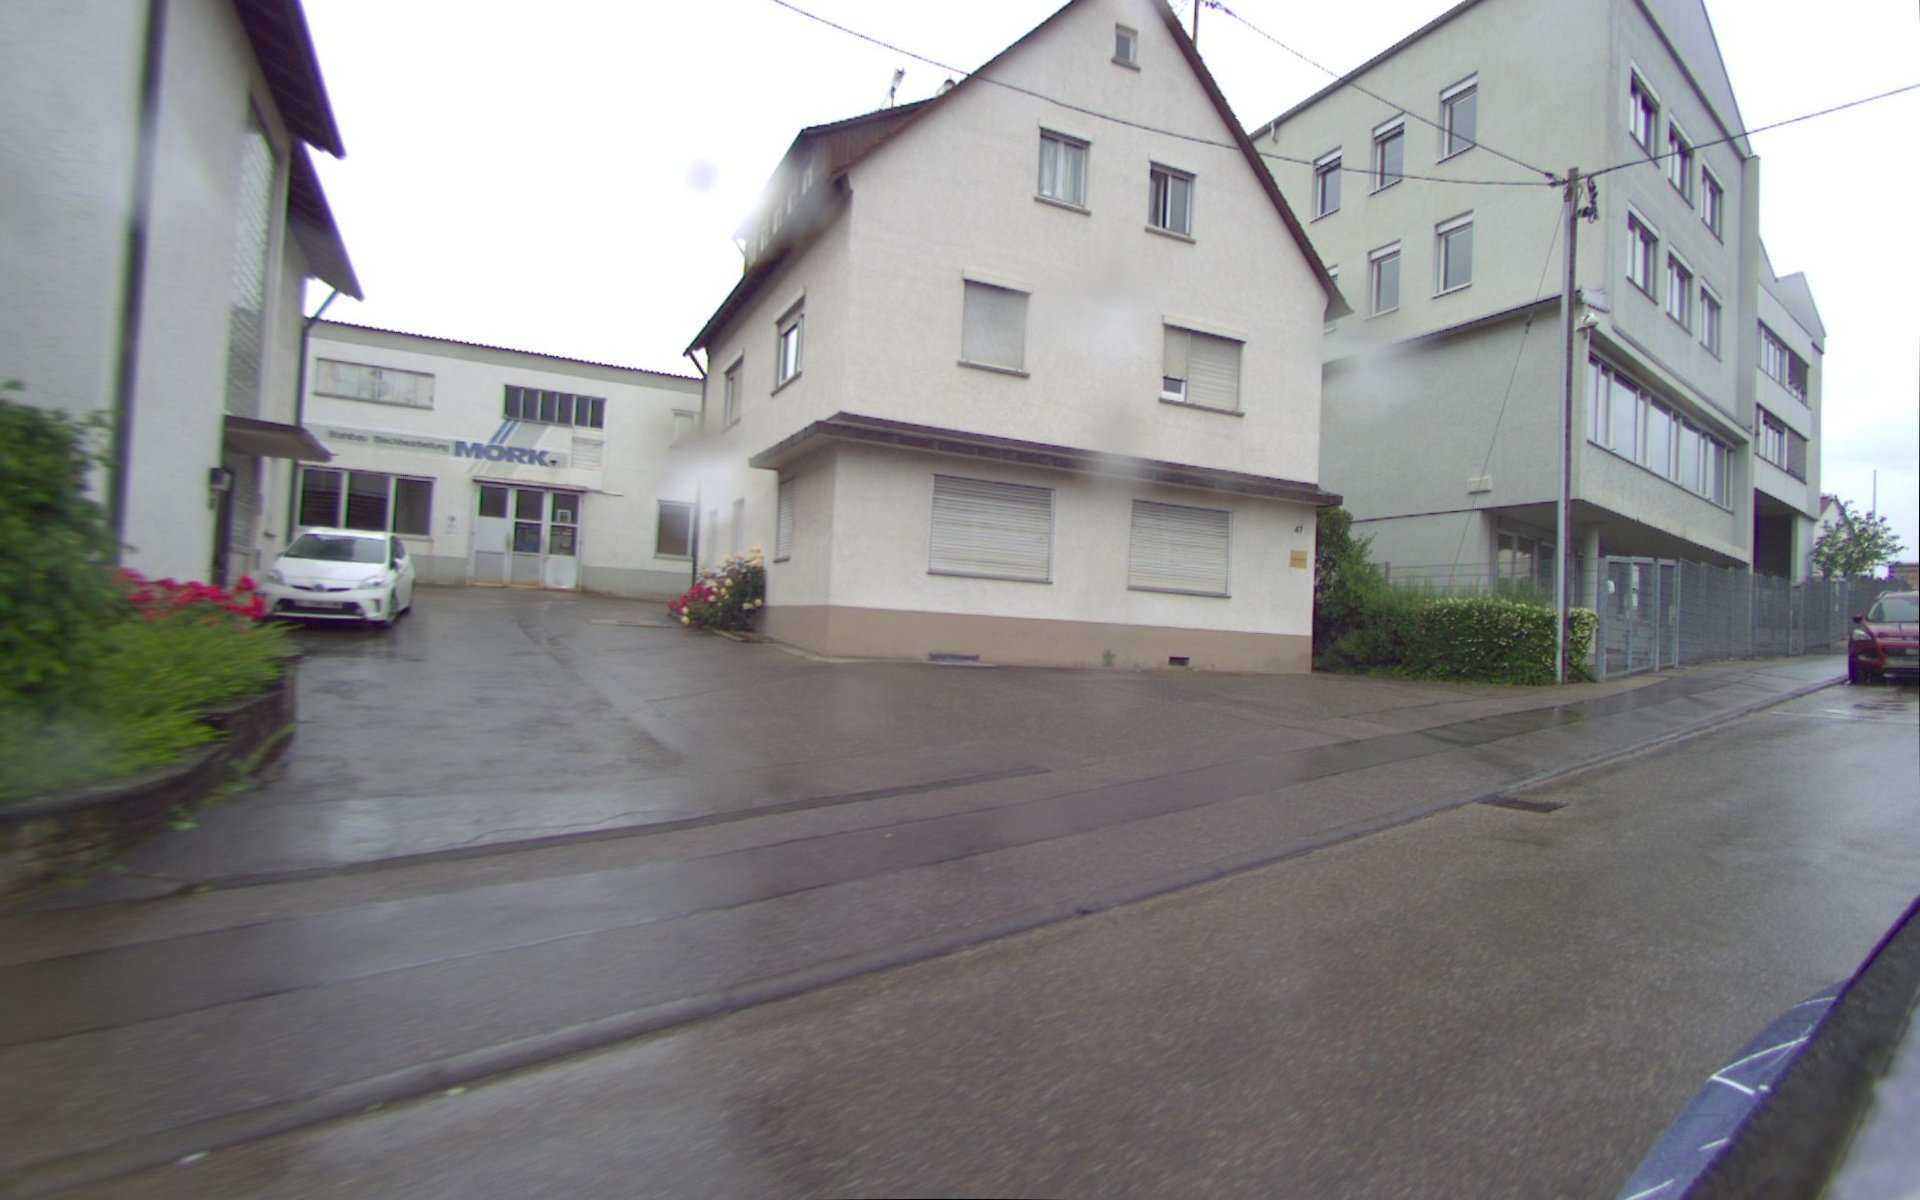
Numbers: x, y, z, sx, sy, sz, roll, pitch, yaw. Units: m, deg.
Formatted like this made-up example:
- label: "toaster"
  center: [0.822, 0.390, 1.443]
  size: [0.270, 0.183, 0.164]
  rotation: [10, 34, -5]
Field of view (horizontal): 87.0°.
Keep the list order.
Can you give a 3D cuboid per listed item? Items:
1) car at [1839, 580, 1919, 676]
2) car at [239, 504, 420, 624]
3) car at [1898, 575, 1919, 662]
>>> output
- label: "car"
  center: [18.471, 0.485, 19.201]
  size: [4.870, 1.665, 1.997]
  rotation: [0, 1, -40]
- label: "car"
  center: [-10.229, -0.586, 16.753]
  size: [1.765, 1.618, 4.308]
  rotation: [4, 1, -23]
- label: "car"
  center: [22.442, 0.390, 22.459]
  size: [4.409, 1.857, 1.882]
  rotation: [0, 0, -40]
